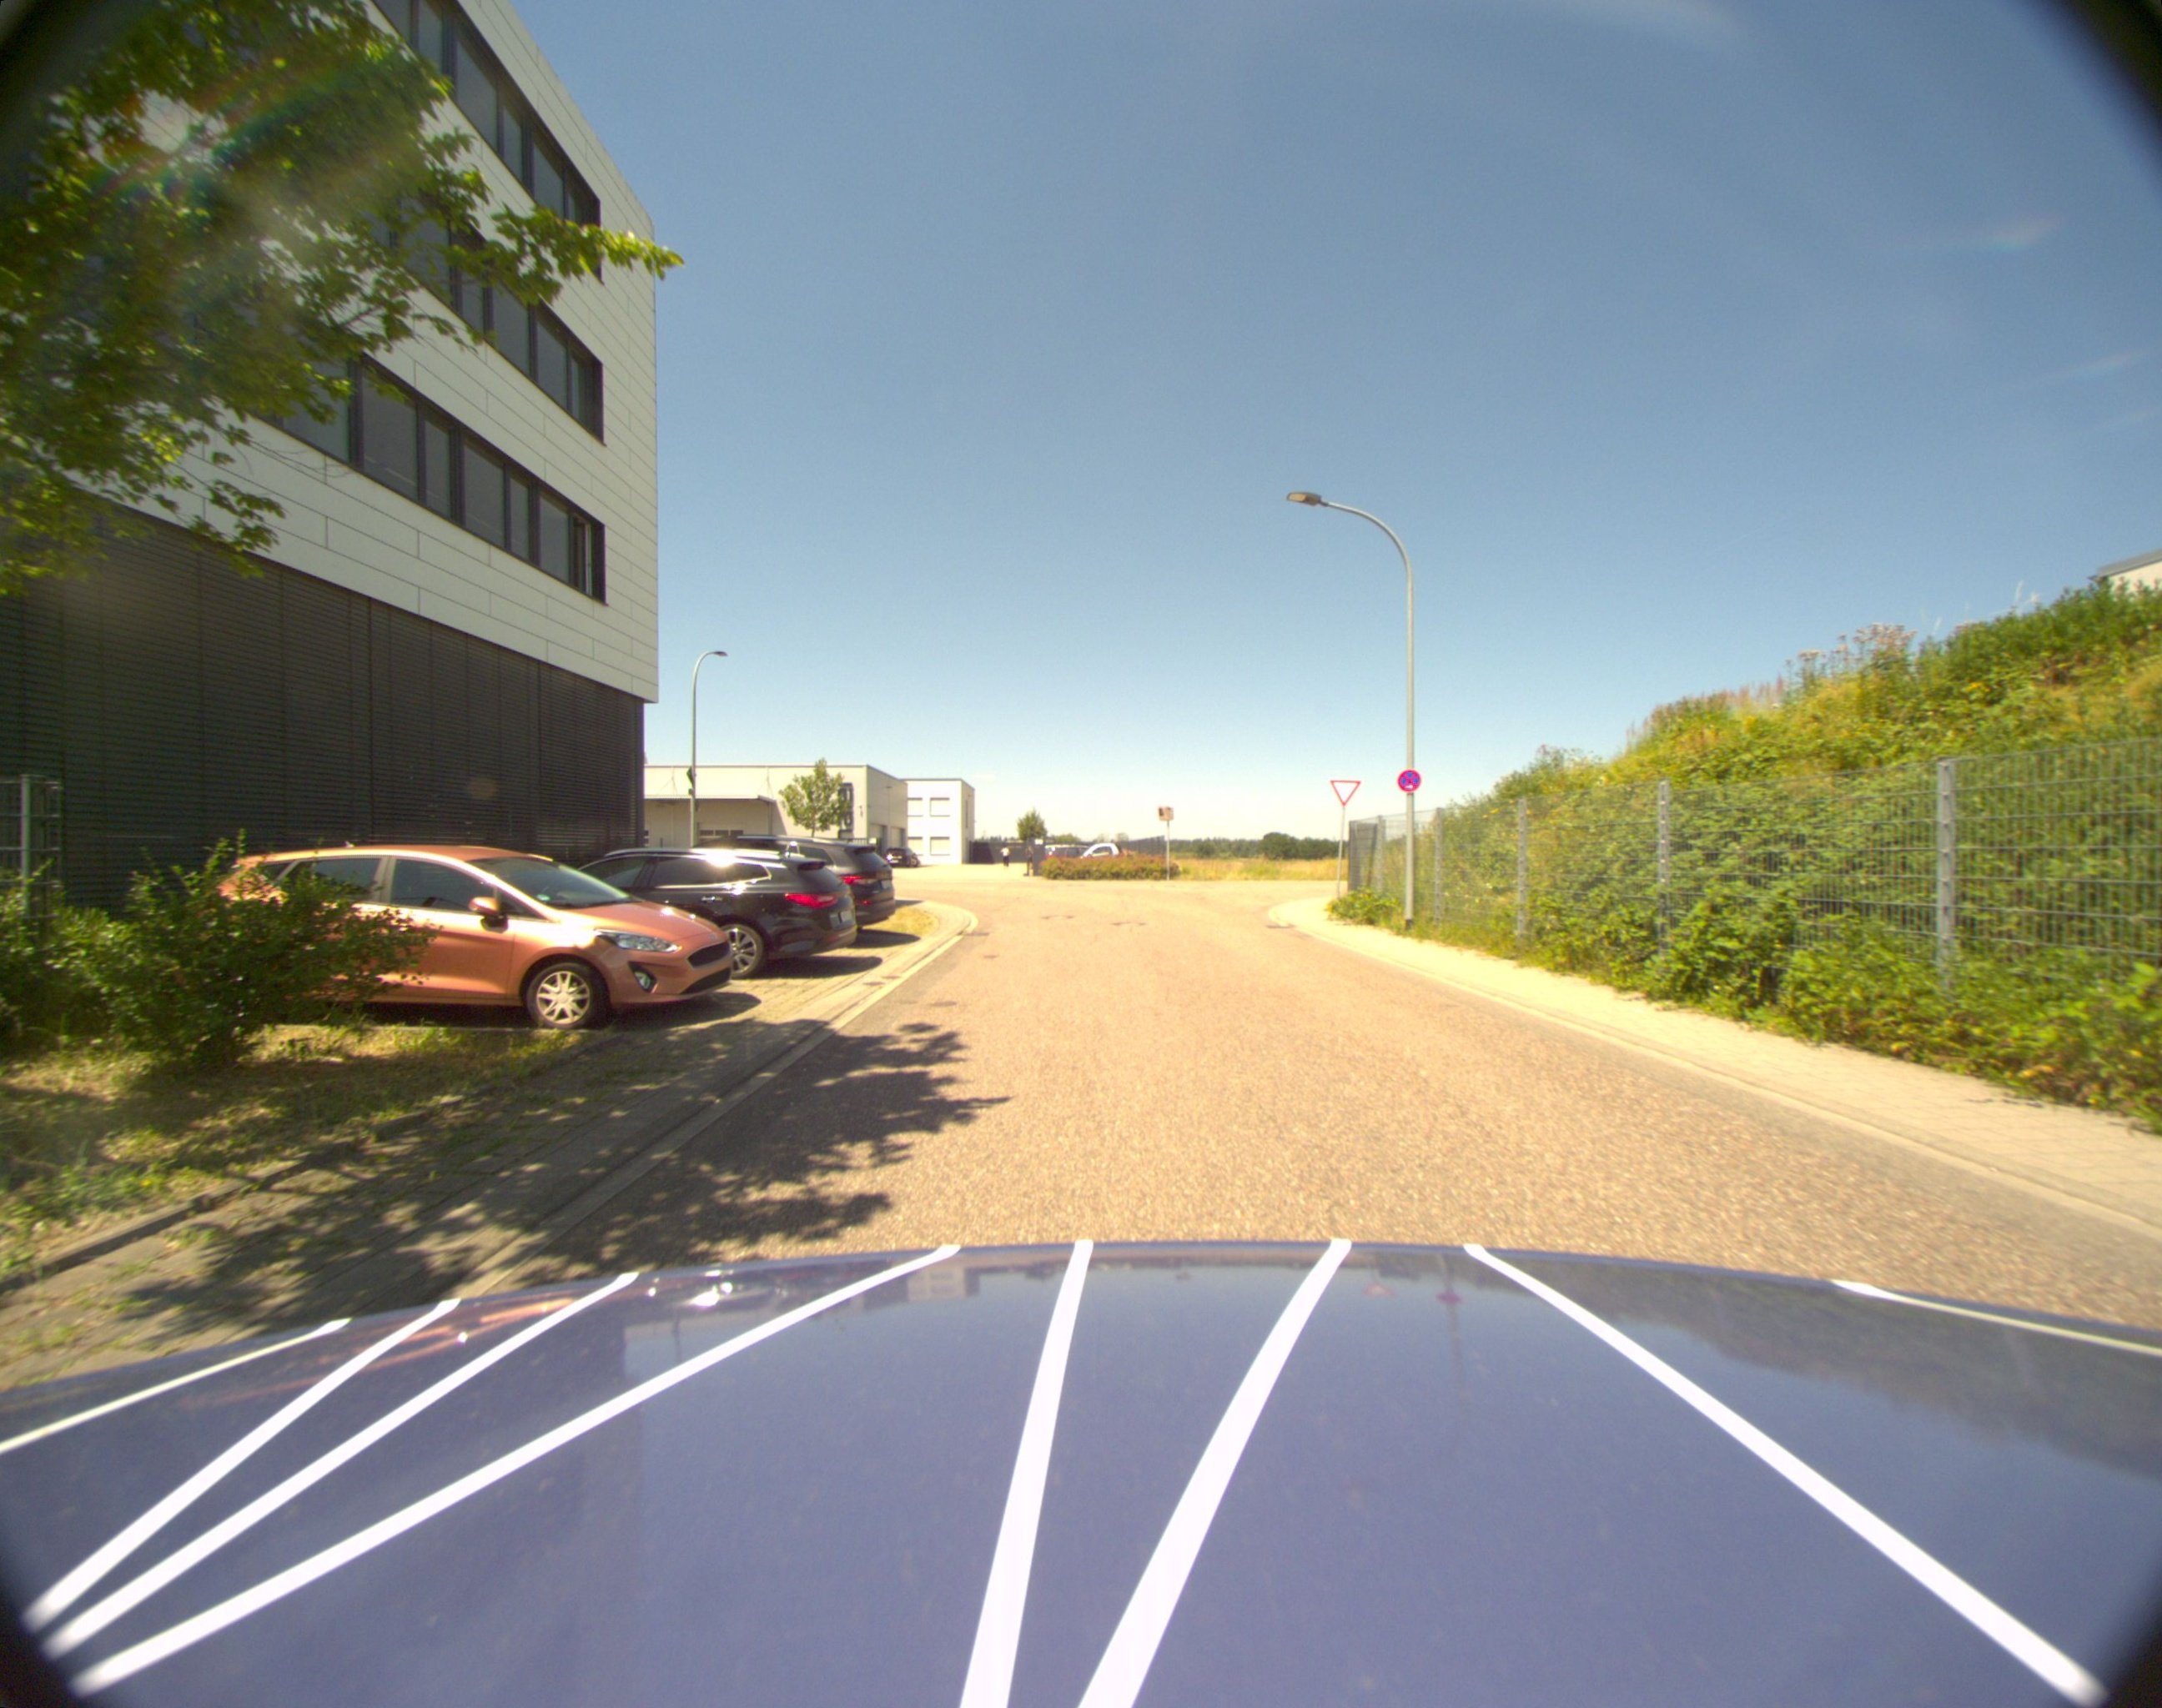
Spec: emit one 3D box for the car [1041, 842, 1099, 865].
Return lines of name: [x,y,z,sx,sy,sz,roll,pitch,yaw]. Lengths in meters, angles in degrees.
car: [-0.774,-0.043,53.470,3.998,1.596,1.676,-1,1,-4]

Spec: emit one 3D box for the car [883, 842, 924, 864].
car: [-11.840,-0.083,50.934,1.796,1.412,3.870,0,1,1]

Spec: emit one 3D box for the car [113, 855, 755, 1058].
car: [-5.189,0.779,6.564,3.998,1.486,1.724,1,1,-2]

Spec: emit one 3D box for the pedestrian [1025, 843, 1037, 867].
pedestrian: [-3.534,0.086,53.775,0.830,1.673,0.711,0,1,-9]

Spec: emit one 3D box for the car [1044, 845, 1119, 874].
car: [-0.004,0.281,41.387,3.998,1.532,1.830,-1,1,-4]

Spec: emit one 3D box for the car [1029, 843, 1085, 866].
car: [-1.783,0.034,55.858,3.998,1.596,1.676,0,1,-4]

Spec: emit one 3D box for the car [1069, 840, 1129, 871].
car: [0.898,0.076,39.150,2.996,1.511,1.705,-1,1,-4]

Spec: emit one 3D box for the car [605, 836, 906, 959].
car: [-4.993,0.625,11.988,3.996,1.755,1.725,1,1,3]

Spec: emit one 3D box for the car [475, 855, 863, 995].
car: [-4.763,0.790,9.227,3.722,1.486,1.781,1,1,-2]

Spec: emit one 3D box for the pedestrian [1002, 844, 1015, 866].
pedestrian: [-5.218,0.063,54.638,0.775,1.620,0.620,-1,2,-15]
